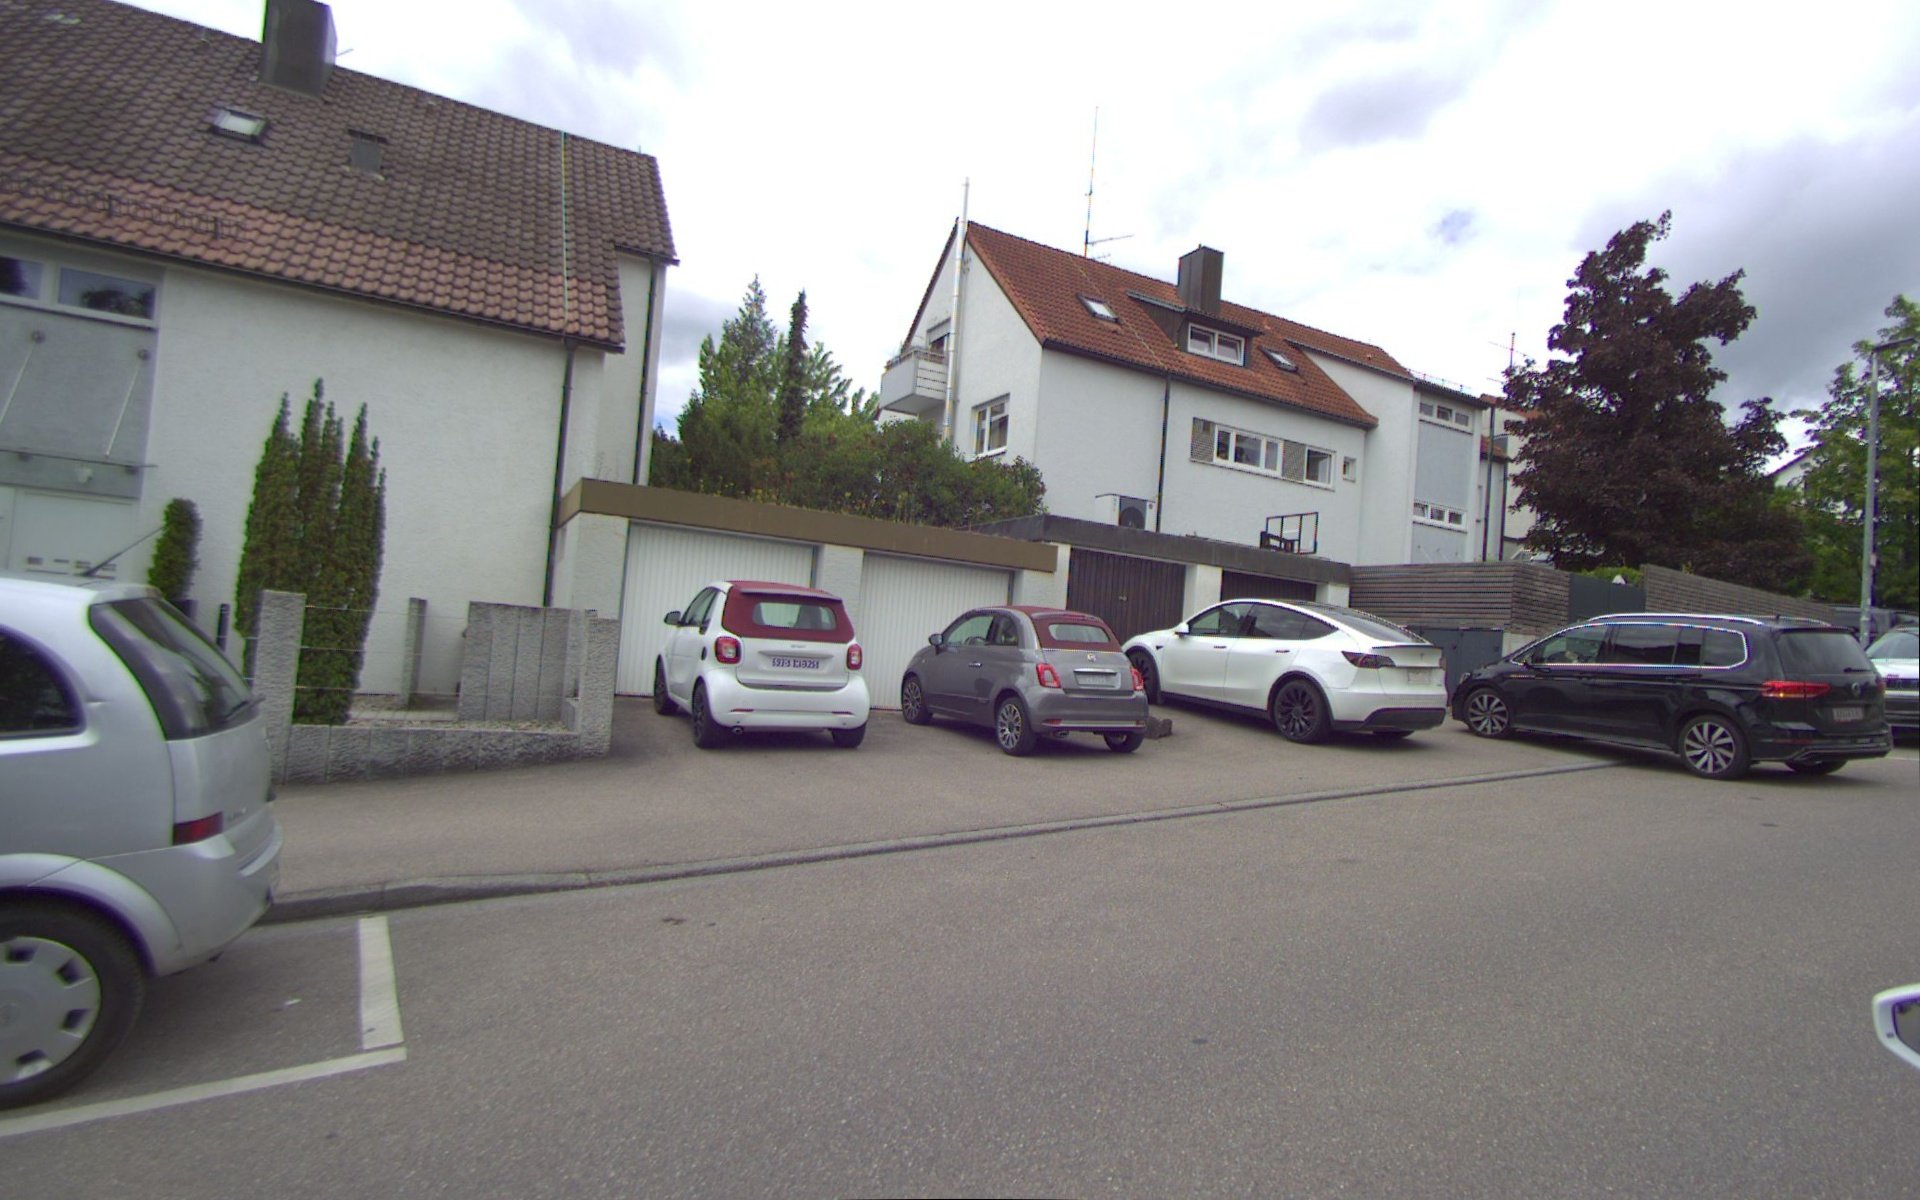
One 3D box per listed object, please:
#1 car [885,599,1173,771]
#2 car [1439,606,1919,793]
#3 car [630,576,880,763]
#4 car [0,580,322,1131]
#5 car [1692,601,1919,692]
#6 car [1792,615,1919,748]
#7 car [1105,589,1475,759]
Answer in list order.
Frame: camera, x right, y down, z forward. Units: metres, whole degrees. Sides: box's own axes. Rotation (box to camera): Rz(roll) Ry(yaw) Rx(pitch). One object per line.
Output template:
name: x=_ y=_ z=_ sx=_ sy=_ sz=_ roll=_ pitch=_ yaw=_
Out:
car: x=0.635 y=0.846 z=11.560 sx=1.672 sy=1.532 sz=3.413 roll=2 pitch=1 yaw=-29
car: x=7.990 y=0.964 z=11.681 sx=1.826 sy=1.633 sz=4.290 roll=2 pitch=1 yaw=-21
car: x=-2.342 y=0.618 z=10.802 sx=1.637 sy=1.599 sz=3.413 roll=2 pitch=1 yaw=-29
car: x=-4.224 y=0.726 z=3.018 sx=3.812 sy=1.583 sz=1.751 roll=1 pitch=-2 yaw=-32
car: x=20.289 y=1.052 z=24.014 sx=1.971 sy=1.975 sz=4.064 roll=2 pitch=-1 yaw=-22
car: x=13.850 y=1.081 z=14.220 sx=4.357 sy=1.688 sz=1.829 roll=1 pitch=-2 yaw=-31
car: x=4.055 y=0.797 z=13.139 sx=1.889 sy=1.651 sz=4.388 roll=1 pitch=2 yaw=-31
